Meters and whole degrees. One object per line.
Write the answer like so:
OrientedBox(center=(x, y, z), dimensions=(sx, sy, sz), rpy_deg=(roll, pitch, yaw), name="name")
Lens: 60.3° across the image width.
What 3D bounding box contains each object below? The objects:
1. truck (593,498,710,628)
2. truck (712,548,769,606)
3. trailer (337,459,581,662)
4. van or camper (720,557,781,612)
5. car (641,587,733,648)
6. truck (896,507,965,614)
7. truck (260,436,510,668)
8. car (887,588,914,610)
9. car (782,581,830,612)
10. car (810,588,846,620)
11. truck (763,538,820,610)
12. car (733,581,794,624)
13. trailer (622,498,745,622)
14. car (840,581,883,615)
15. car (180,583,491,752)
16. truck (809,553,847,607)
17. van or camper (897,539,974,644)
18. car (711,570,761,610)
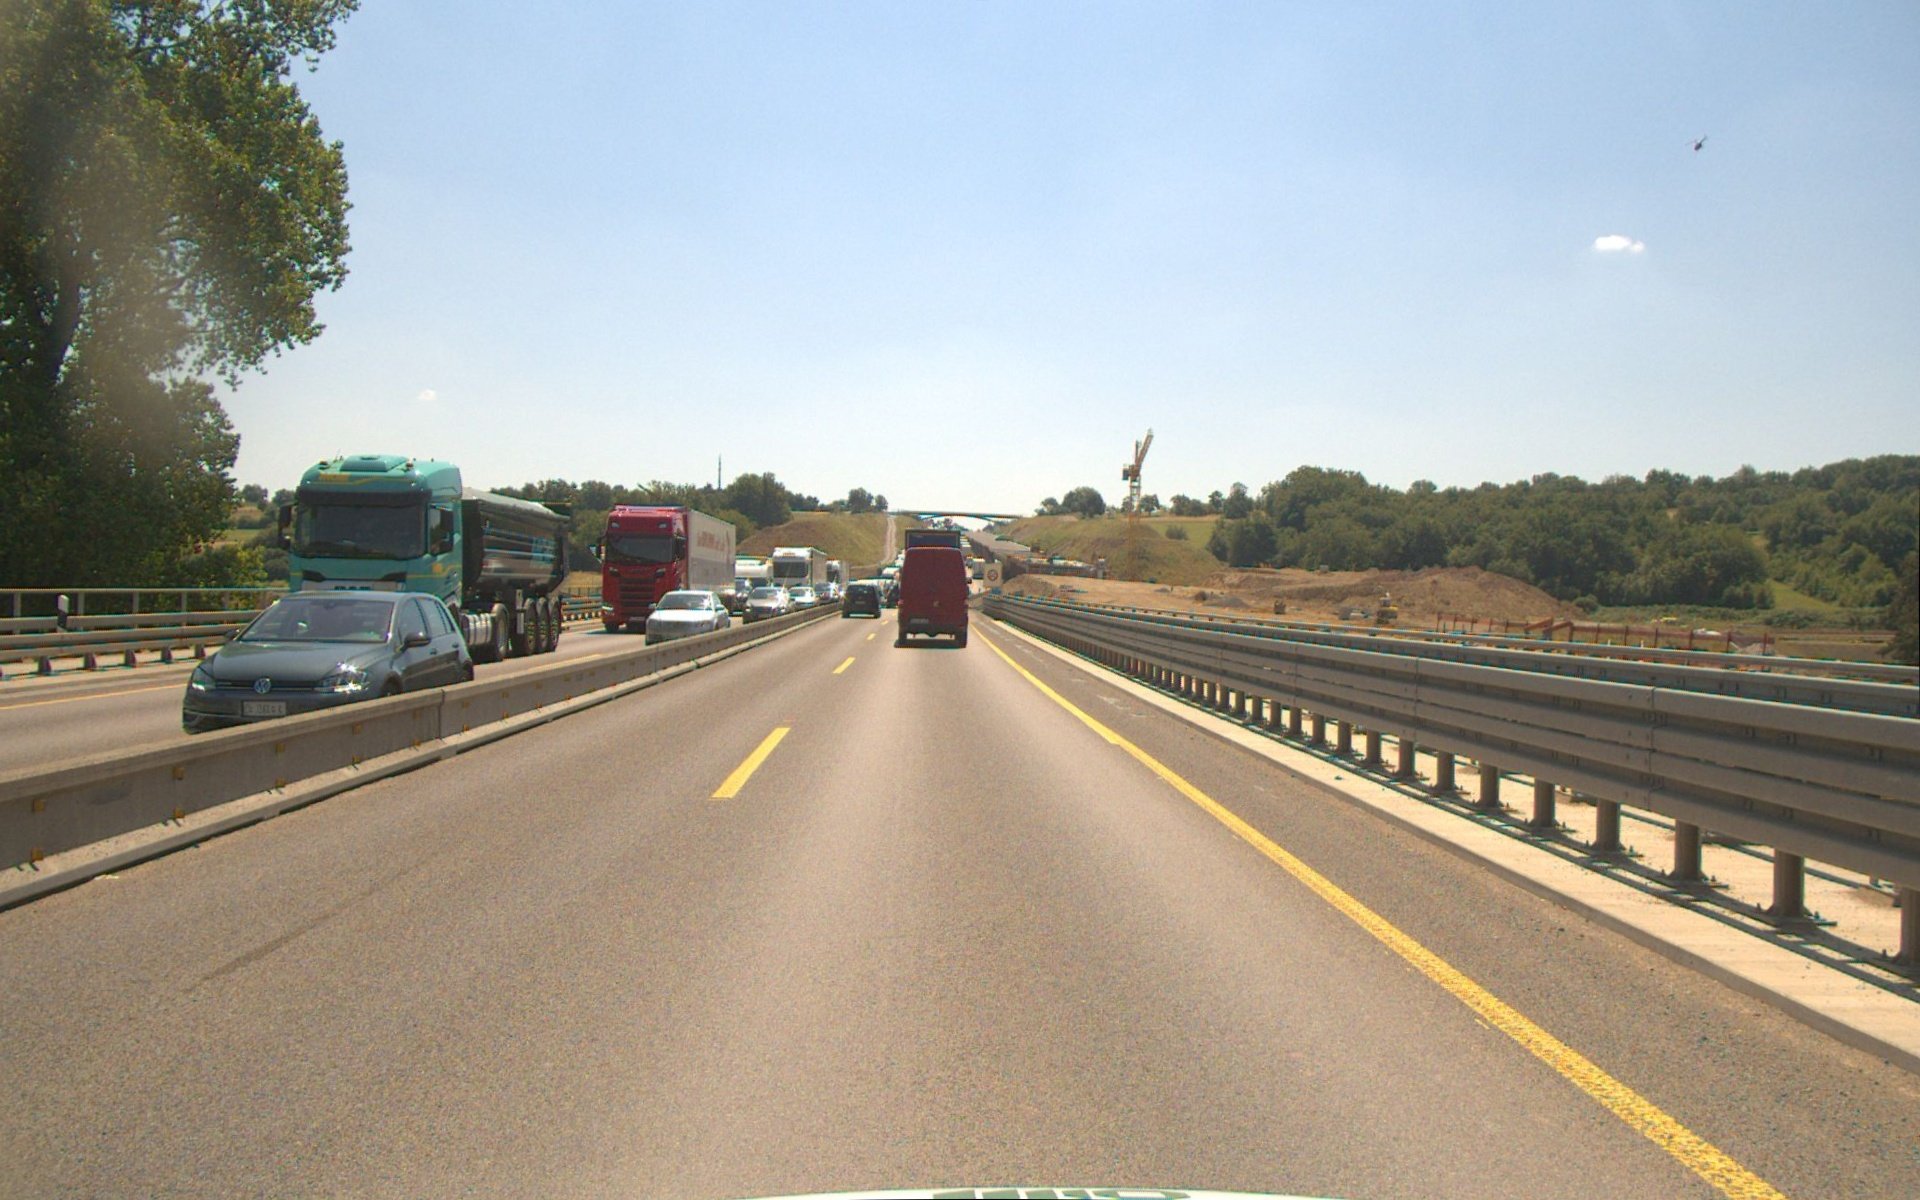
OrientedBox(center=(-10.321, -1.250, 55.981), dimensions=(2.759, 4.107, 6.522), rpy_deg=(1, 1, -1), name="truck")
OrientedBox(center=(-15.229, -1.631, 115.252), dimensions=(2.845, 3.830, 8.366), rpy_deg=(2, 1, -1), name="truck")
OrientedBox(center=(-10.414, -0.769, 35.457), dimensions=(2.738, 3.736, 8.953), rpy_deg=(-1, 0, -2), name="trailer")
OrientedBox(center=(-10.830, -0.820, 85.914), dimensions=(2.452, 2.745, 5.243), rpy_deg=(1, 1, 0), name="van or camper")
OrientedBox(center=(-6.851, 0.399, 41.932), dimensions=(1.745, 1.404, 4.709), rpy_deg=(-1, 1, -3), name="car")
OrientedBox(center=(-1.461, -1.819, 77.863), dimensions=(2.960, 4.775, 6.929), rpy_deg=(-1, 1, -3), name="truck")
OrientedBox(center=(-10.281, -0.820, 30.144), dimensions=(2.740, 3.787, 5.372), rpy_deg=(-1, 0, -2), name="truck")
OrientedBox(center=(-4.497, -0.081, 125.375), dimensions=(1.971, 1.572, 4.131), rpy_deg=(2, 1, -2), name="car")
OrientedBox(center=(-7.682, -0.154, 83.050), dimensions=(1.862, 1.487, 4.194), rpy_deg=(2, -1, 1), name="car")
OrientedBox(center=(-7.712, 0.247, 96.964), dimensions=(1.810, 1.717, 4.617), rpy_deg=(2, -1, -2), name="car")
OrientedBox(center=(-11.192, -1.695, 110.147), dimensions=(3.015, 4.616, 7.102), rpy_deg=(1, 0, 0), name="truck")
OrientedBox(center=(-7.610, 0.080, 64.425), dimensions=(1.852, 1.513, 4.918), rpy_deg=(3, 0, -2), name="car")
OrientedBox(center=(-10.377, -1.501, 63.394), dimensions=(2.749, 4.249, 11.798), rpy_deg=(1, 1, 0), name="trailer")
OrientedBox(center=(-4.723, -0.094, 80.012), dimensions=(1.971, 1.572, 4.130), rpy_deg=(1, 0, -2), name="car")
OrientedBox(center=(-5.982, 0.559, 16.363), dimensions=(1.598, 1.433, 4.102), rpy_deg=(-1, 1, -2), name="car")
OrientedBox(center=(-11.309, -1.712, 142.414), dimensions=(2.749, 4.469, 6.224), rpy_deg=(0, 1, 0), name="truck")
OrientedBox(center=(-0.748, -0.252, 46.881), dimensions=(1.988, 2.792, 4.513), rpy_deg=(1, 0, -3), name="van or camper")
OrientedBox(center=(-10.611, -0.489, 78.636), dimensions=(1.732, 1.764, 4.790), rpy_deg=(2, 1, -1), name="car")
